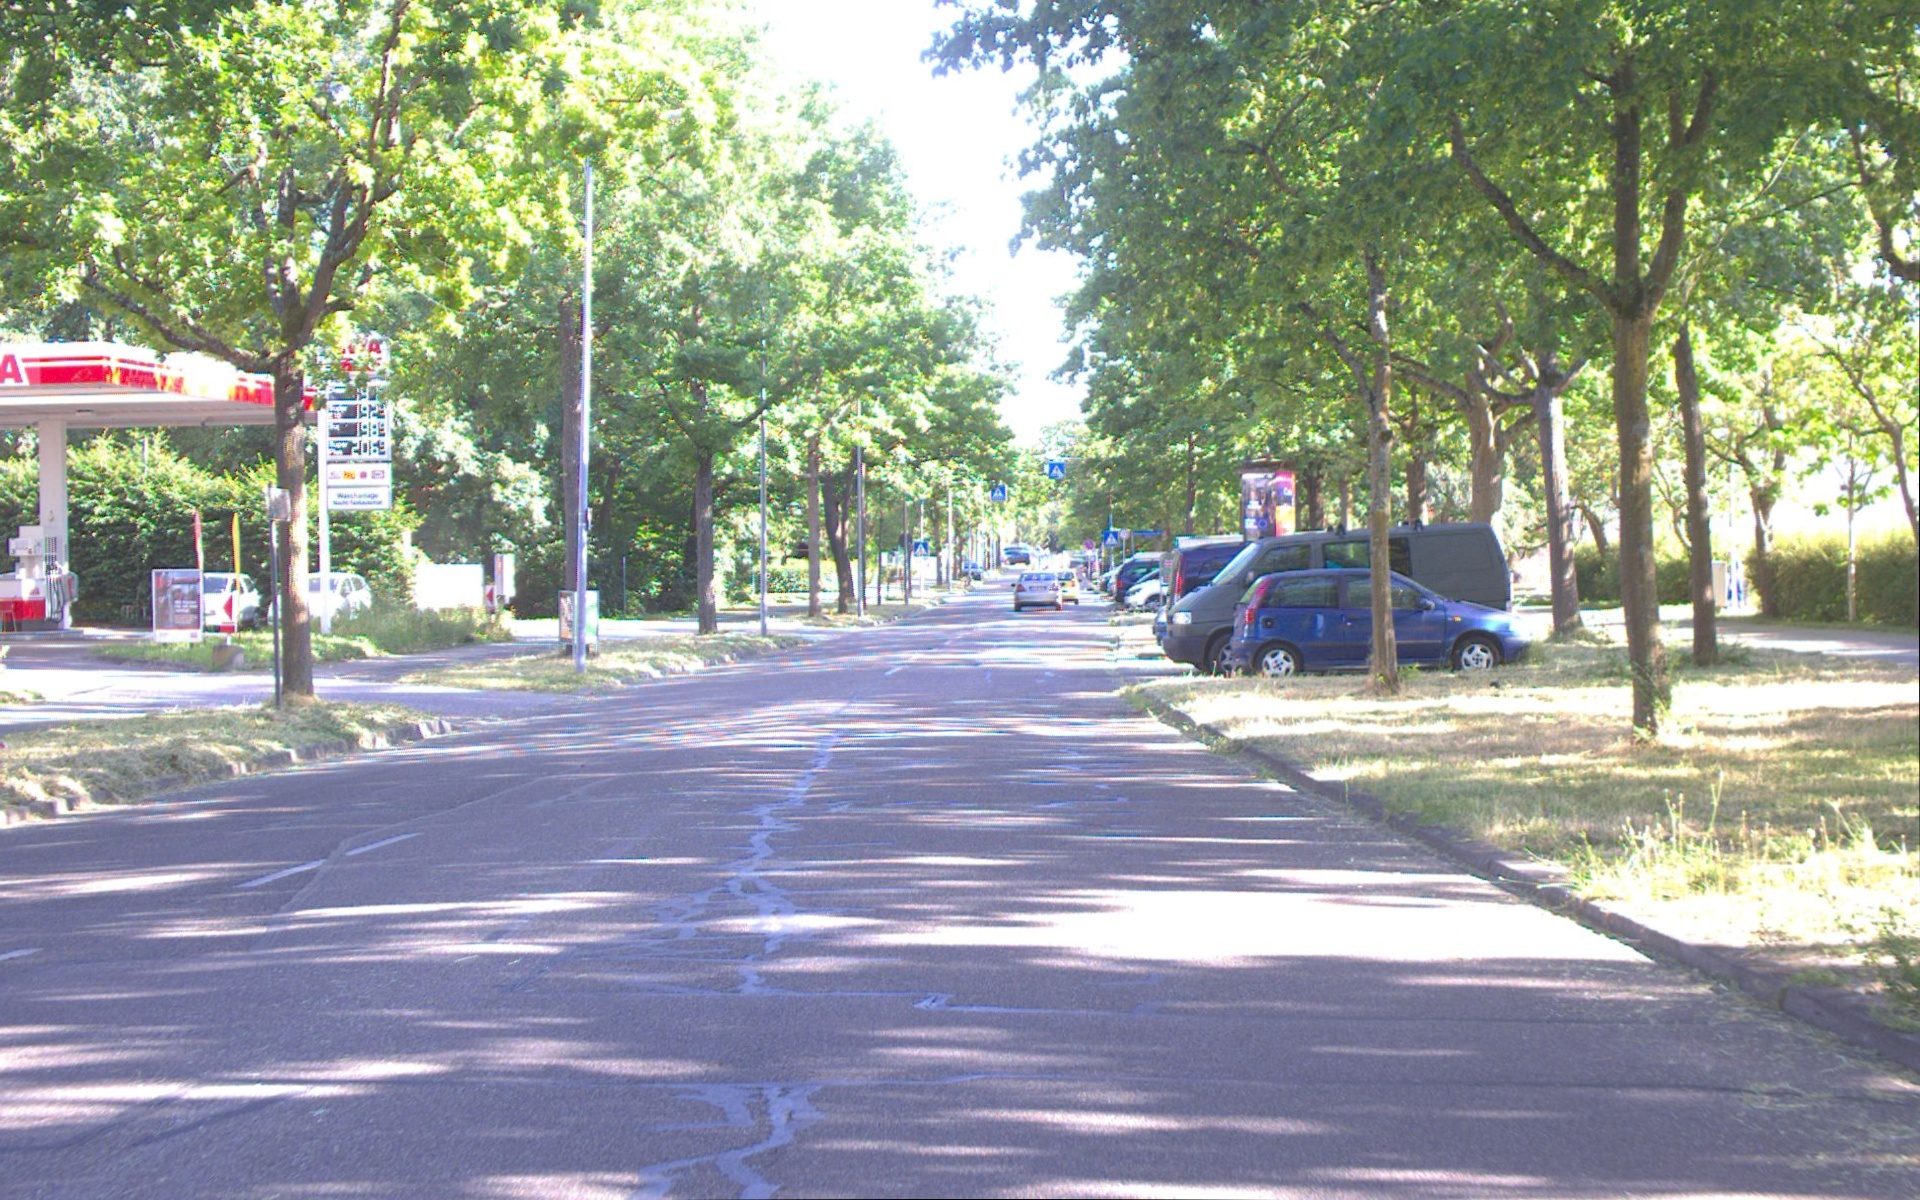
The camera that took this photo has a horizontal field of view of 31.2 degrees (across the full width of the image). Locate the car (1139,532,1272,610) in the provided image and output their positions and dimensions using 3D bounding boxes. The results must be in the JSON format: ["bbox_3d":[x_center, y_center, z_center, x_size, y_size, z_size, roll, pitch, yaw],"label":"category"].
[{"bbox_3d":[6.804,-0.793,95.543,3.567,2.044,1.633,-1,-1,1],"label":"car"}]

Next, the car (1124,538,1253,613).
[{"bbox_3d":[6.508,-0.692,98.287,3.567,2.044,1.575,-1,-1,1],"label":"car"}]

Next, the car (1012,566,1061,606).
[{"bbox_3d":[2.713,-0.477,122.553,1.661,1.332,3.665,-1,-1,1],"label":"car"}]

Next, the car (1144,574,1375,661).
[{"bbox_3d":[4.883,0.285,56.289,3.653,1.325,1.317,-1,-1,1],"label":"car"}]

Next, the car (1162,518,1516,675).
[{"bbox_3d":[4.997,-0.034,45.777,4.502,1.946,1.687,-1,-1,1],"label":"car"}]

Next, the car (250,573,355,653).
[{"bbox_3d":[-15.707,0.328,82.275,1.801,1.817,3.805,-1,-1,-1],"label":"car"}]

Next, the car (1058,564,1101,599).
[{"bbox_3d":[4.928,-0.746,142.072,1.661,1.332,3.665,-1,-1,1],"label":"car"}]

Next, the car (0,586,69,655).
[{"bbox_3d":[-23.252,0.523,84.276,1.801,1.615,3.805,-1,-1,0],"label":"car"}]

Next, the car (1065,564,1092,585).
[{"bbox_3d":[8.211,-1.782,238.955,1.736,1.332,3.665,-1,-1,1],"label":"car"}]

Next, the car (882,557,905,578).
[{"bbox_3d":[-4.922,-2.373,254.172,1.645,1.421,4.000,-1,-1,-1],"label":"car"}]

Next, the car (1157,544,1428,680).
[{"bbox_3d":[4.637,0.174,48.275,3.653,1.791,1.317,-1,-1,1],"label":"car"}]

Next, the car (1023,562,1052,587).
[{"bbox_3d":[4.550,-1.493,202.564,1.661,1.332,3.665,-1,-1,1],"label":"car"}]

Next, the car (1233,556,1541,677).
[{"bbox_3d":[5.278,0.212,42.787,3.653,1.393,1.317,-1,-1,1],"label":"car"}]

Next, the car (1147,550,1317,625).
[{"bbox_3d":[6.014,-0.264,76.341,3.653,1.557,1.317,-1,-1,1],"label":"car"}]

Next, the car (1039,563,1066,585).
[{"bbox_3d":[6.028,-1.712,224.802,1.661,1.332,3.665,-1,-1,1],"label":"car"}]

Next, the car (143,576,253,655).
[{"bbox_3d":[-18.210,0.385,82.343,1.801,1.817,3.805,-1,-1,-1],"label":"car"}]
